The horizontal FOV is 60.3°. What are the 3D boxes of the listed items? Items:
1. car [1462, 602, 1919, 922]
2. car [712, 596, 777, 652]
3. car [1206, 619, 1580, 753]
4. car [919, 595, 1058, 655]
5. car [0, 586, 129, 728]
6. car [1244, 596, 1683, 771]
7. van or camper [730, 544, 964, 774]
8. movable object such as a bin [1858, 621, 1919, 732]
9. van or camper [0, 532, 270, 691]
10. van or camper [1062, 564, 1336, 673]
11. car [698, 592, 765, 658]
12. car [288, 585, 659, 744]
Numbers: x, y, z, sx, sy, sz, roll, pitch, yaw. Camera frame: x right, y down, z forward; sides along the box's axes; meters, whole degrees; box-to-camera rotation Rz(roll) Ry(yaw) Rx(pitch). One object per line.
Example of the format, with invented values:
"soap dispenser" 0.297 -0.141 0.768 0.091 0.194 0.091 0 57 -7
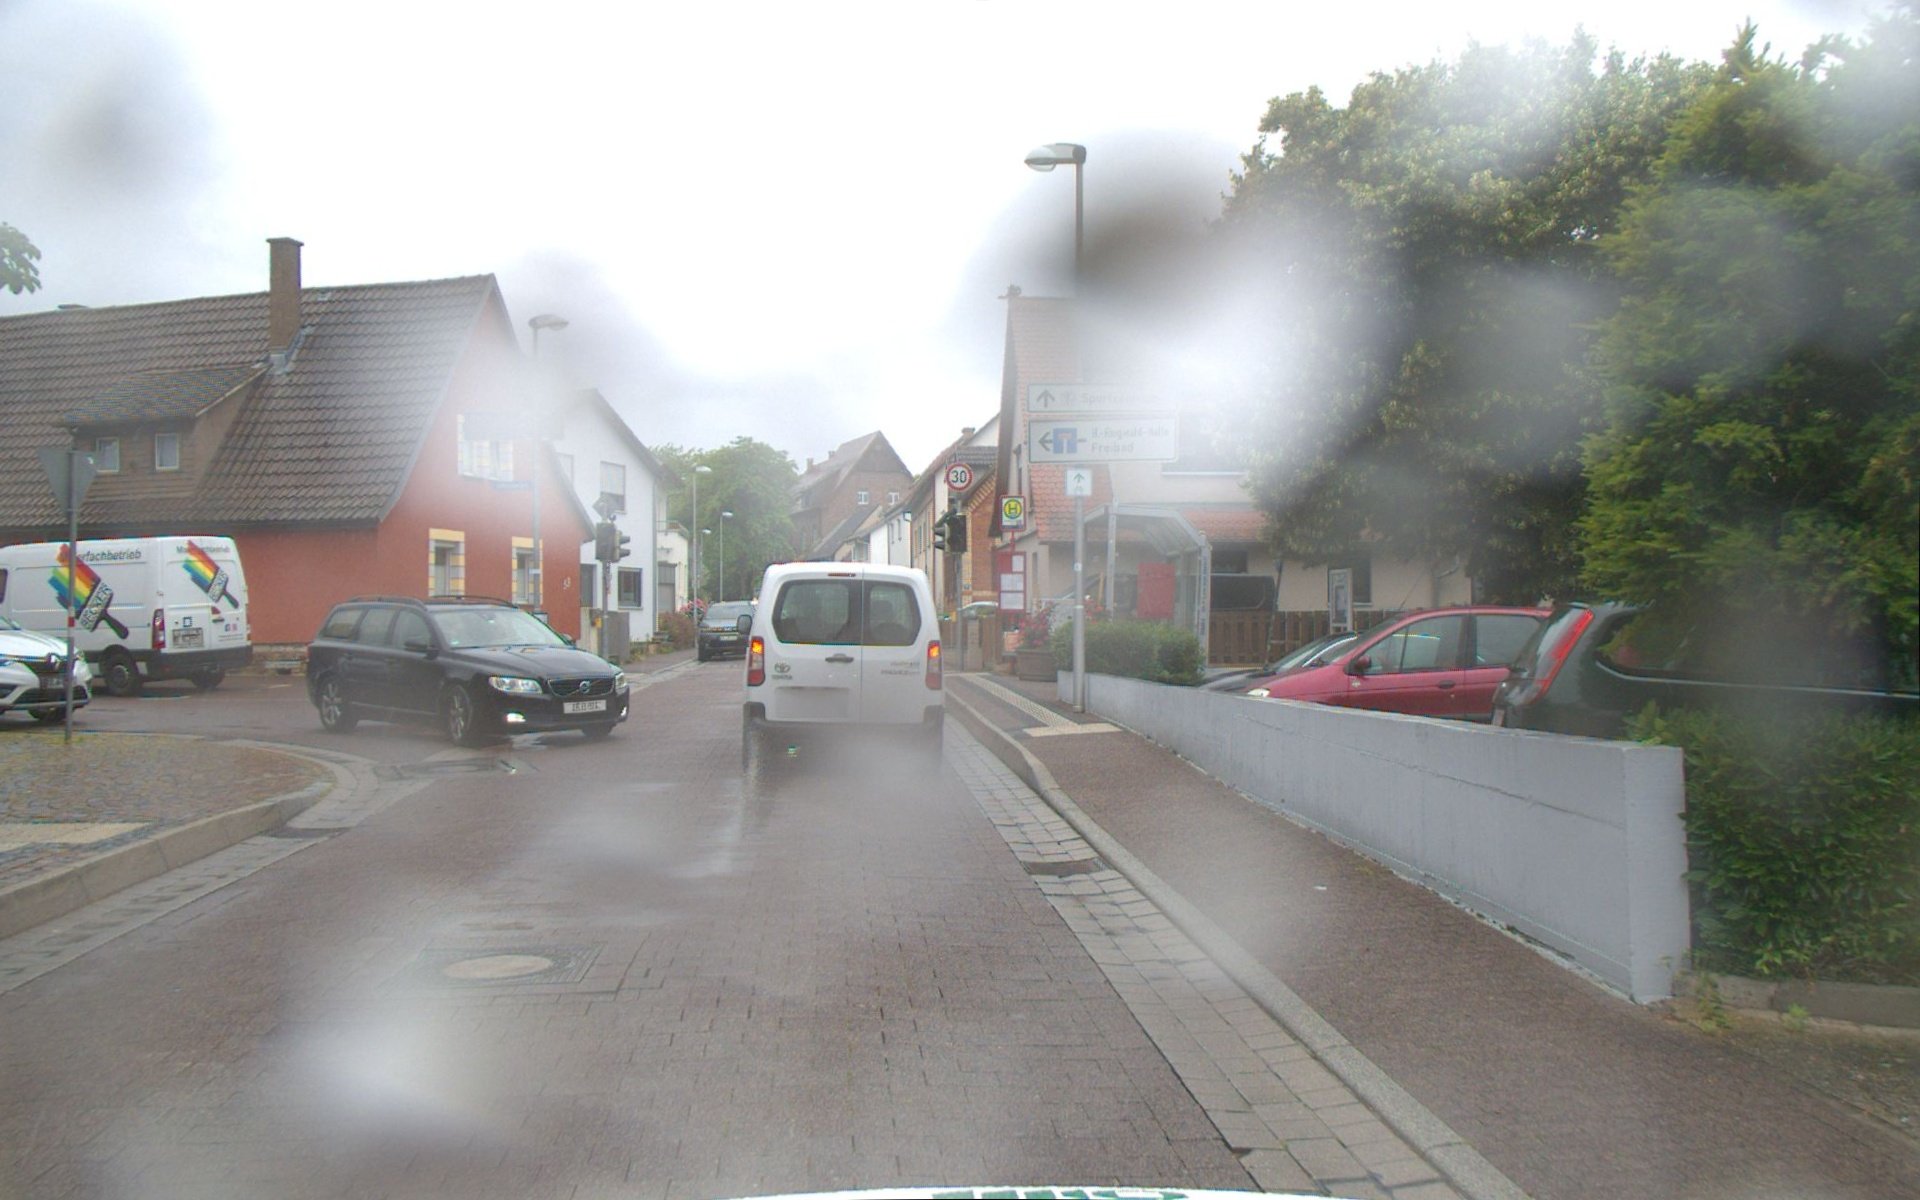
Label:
"car" 4.866 0.767 8.610 4.137 1.506 1.696 0 0 11
"car" -7.053 0.798 54.526 1.714 1.665 4.415 -3 -1 -3
"car" 4.851 0.950 18.946 3.869 1.402 1.752 -1 0 3
"car" 0.822 0.751 50.886 1.857 1.617 4.559 1 1 -37
"car" -12.491 0.602 19.847 4.352 1.577 1.883 1 0 16
"car" 4.870 0.780 16.531 3.981 1.617 1.859 0 0 9
"van or camper" -1.088 0.499 15.726 1.905 1.883 3.996 1 0 -5
"movable object such as a bin" 12.596 0.981 21.468 1.217 1.381 1.154 1 0 -3
"van or camper" -14.411 0.195 27.803 5.036 2.478 2.212 -1 1 21
"van or camper" 4.651 0.361 32.502 4.974 1.957 1.873 2 -1 -8
"car" -6.637 0.692 48.291 1.777 1.810 4.012 -1 0 -6
"car" -5.388 0.644 18.082 4.233 1.503 1.841 -1 1 40
